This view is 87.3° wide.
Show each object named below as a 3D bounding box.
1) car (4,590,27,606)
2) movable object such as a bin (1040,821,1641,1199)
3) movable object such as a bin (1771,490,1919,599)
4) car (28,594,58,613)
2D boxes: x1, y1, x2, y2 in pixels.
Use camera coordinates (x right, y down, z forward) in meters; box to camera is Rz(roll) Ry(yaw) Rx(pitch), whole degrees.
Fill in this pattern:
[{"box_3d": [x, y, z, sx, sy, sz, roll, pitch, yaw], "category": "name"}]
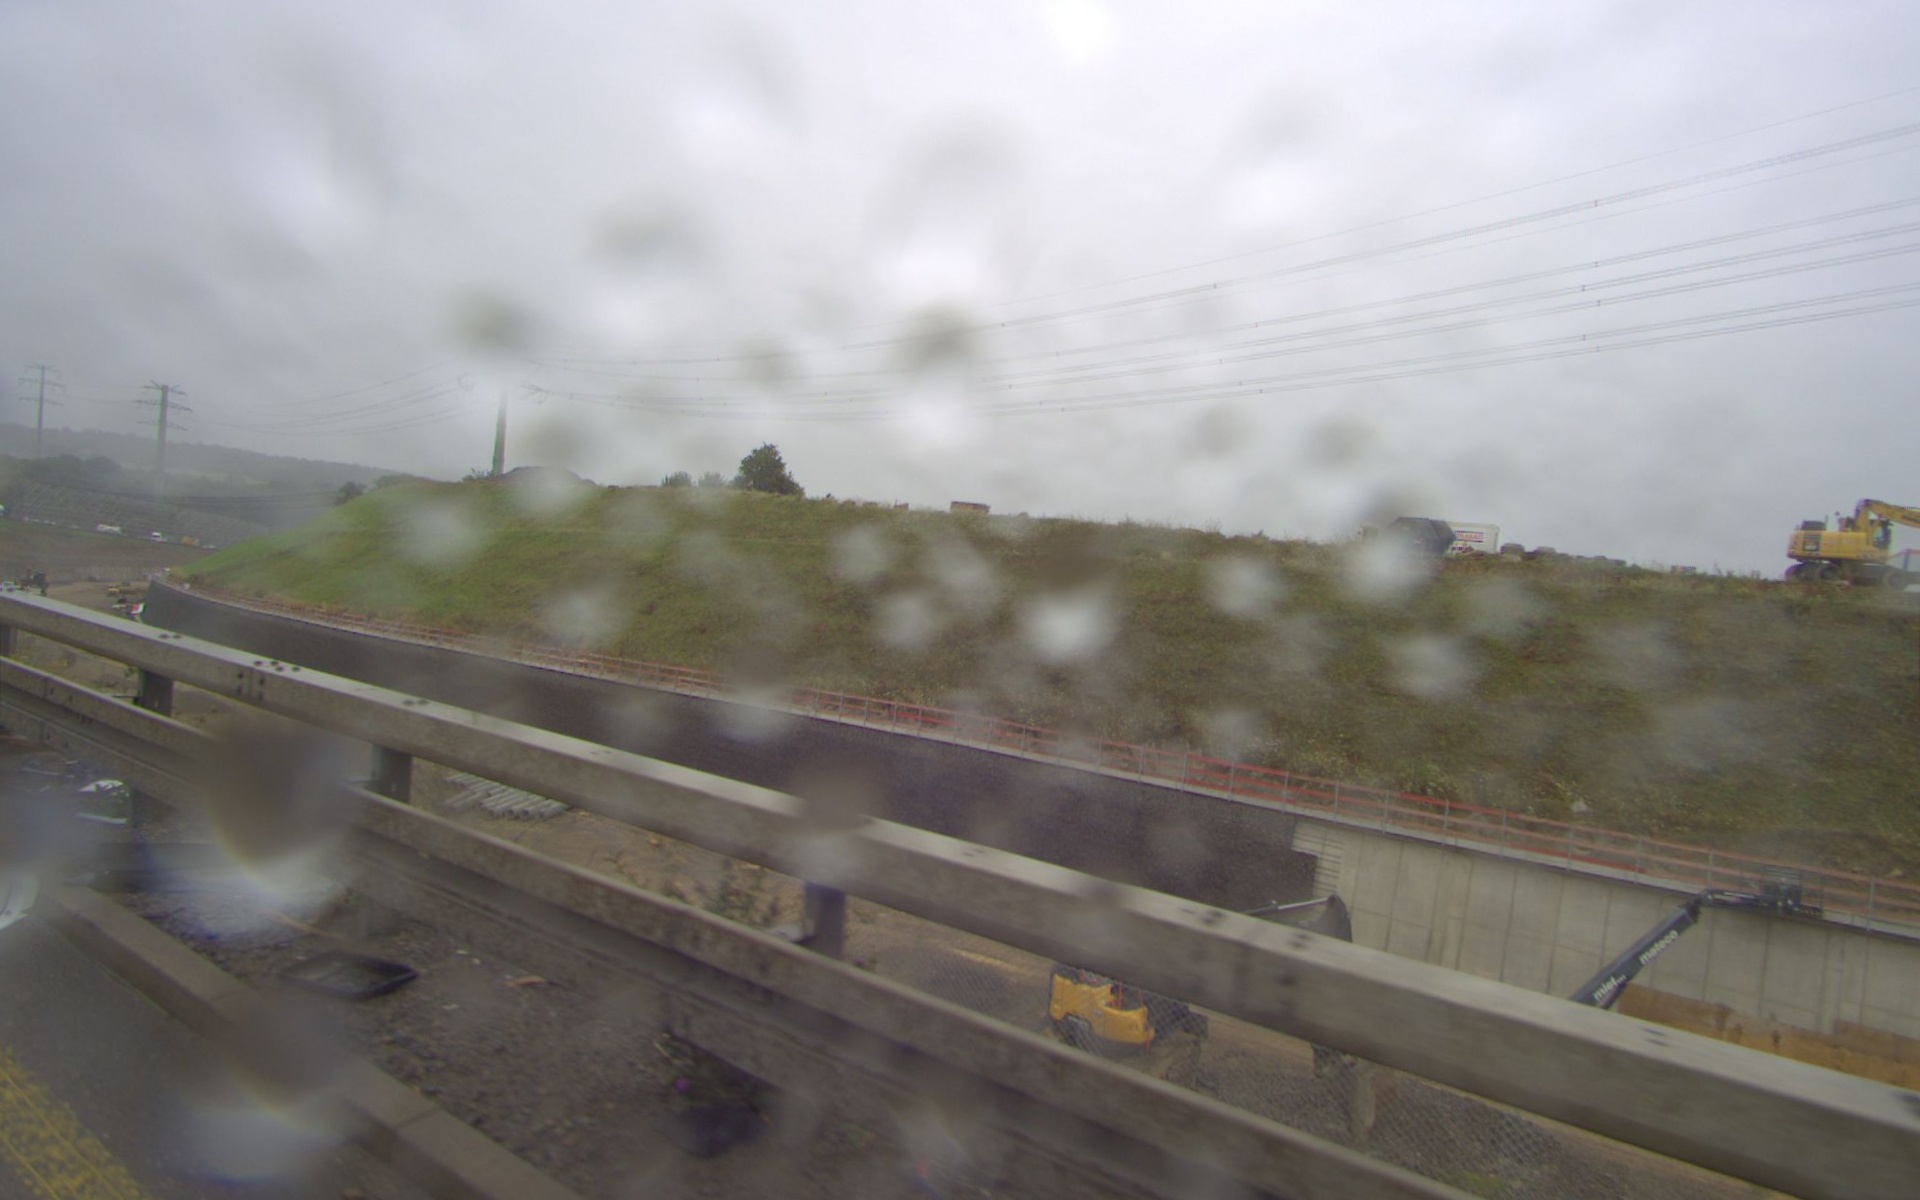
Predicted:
[{"box_3d": [-140.690, -0.330, 149.898, 3.945, 1.837, 1.991, 5, -2, 41], "category": "car"}, {"box_3d": [8.510, 9.204, 23.606, 11.899, 5.731, 4.903, 3, -4, 33], "category": "movable object such as a bin"}, {"box_3d": [41.689, -2.407, 44.744, 8.047, 4.259, 3.100, 7, 1, 34], "category": "movable object such as a bin"}, {"box_3d": [-127.643, 0.511, 140.006, 3.942, 2.037, 2.365, 6, -2, 39], "category": "car"}]
